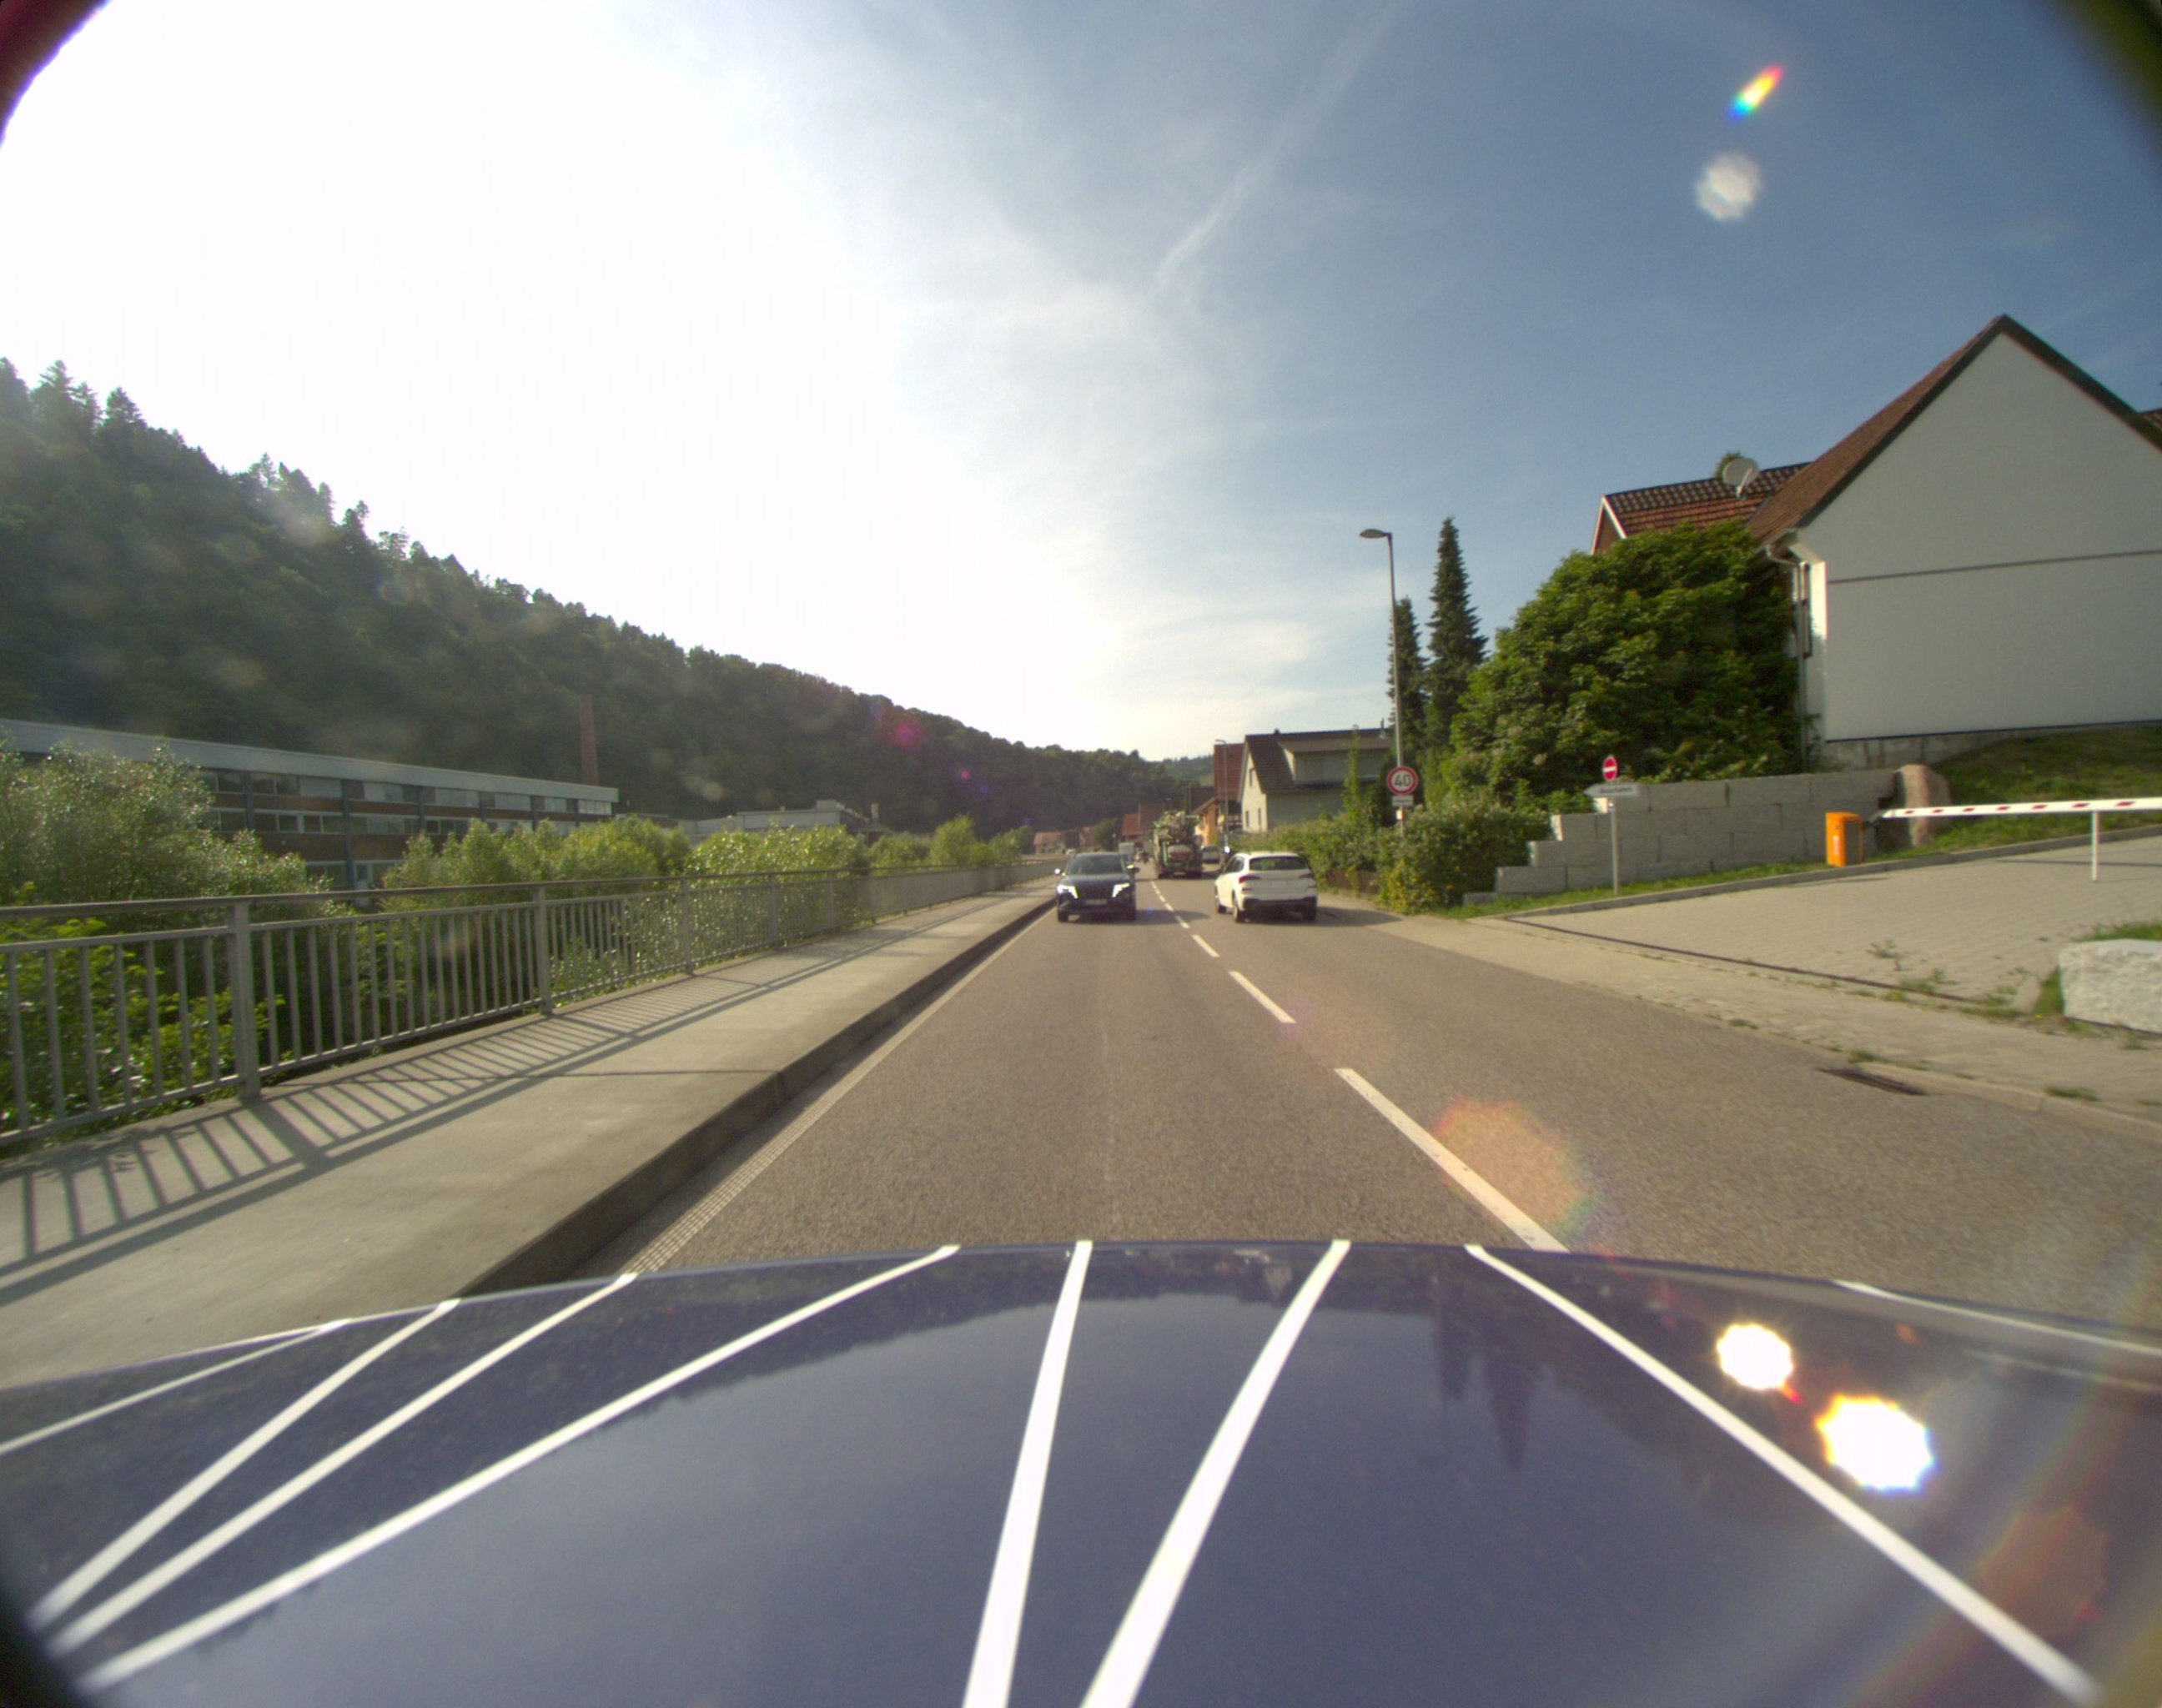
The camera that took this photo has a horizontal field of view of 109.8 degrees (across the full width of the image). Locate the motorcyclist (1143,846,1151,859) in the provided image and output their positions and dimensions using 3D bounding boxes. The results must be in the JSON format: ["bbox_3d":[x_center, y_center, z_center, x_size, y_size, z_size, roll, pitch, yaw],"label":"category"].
[{"bbox_3d":[7.978,-0.186,91.601,0.827,1.549,0.628,-3,1,7],"label":"motorcyclist"}]

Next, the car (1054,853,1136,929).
[{"bbox_3d":[0.257,0.821,19.107,1.649,1.639,3.998,-2,0,-4],"label":"car"}]

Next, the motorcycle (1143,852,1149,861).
[{"bbox_3d":[7.918,0.328,92.195,0.655,1.062,2.182,-3,1,6],"label":"motorcycle"}]

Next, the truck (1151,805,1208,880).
[{"bbox_3d":[5.811,-0.676,46.677,2.584,3.909,11.307,-2,1,4],"label":"truck"}]

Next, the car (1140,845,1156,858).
[{"bbox_3d":[9.423,-0.370,106.608,1.633,1.476,4.003,-4,1,12],"label":"car"}]

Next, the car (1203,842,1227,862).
[{"bbox_3d":[12.318,-0.249,70.136,1.904,1.655,4.269,-4,1,7],"label":"car"}]

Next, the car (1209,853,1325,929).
[{"bbox_3d":[4.154,0.756,17.624,1.753,1.495,4.191,-2,0,2],"label":"car"}]

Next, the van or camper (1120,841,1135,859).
[{"bbox_3d":[7.893,-0.722,129.274,2.200,2.921,7.127,-4,0,2],"label":"van or camper"}]

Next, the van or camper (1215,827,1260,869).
[{"bbox_3d":[10.455,-0.423,51.162,2.153,2.540,5.902,-3,1,5],"label":"van or camper"}]
